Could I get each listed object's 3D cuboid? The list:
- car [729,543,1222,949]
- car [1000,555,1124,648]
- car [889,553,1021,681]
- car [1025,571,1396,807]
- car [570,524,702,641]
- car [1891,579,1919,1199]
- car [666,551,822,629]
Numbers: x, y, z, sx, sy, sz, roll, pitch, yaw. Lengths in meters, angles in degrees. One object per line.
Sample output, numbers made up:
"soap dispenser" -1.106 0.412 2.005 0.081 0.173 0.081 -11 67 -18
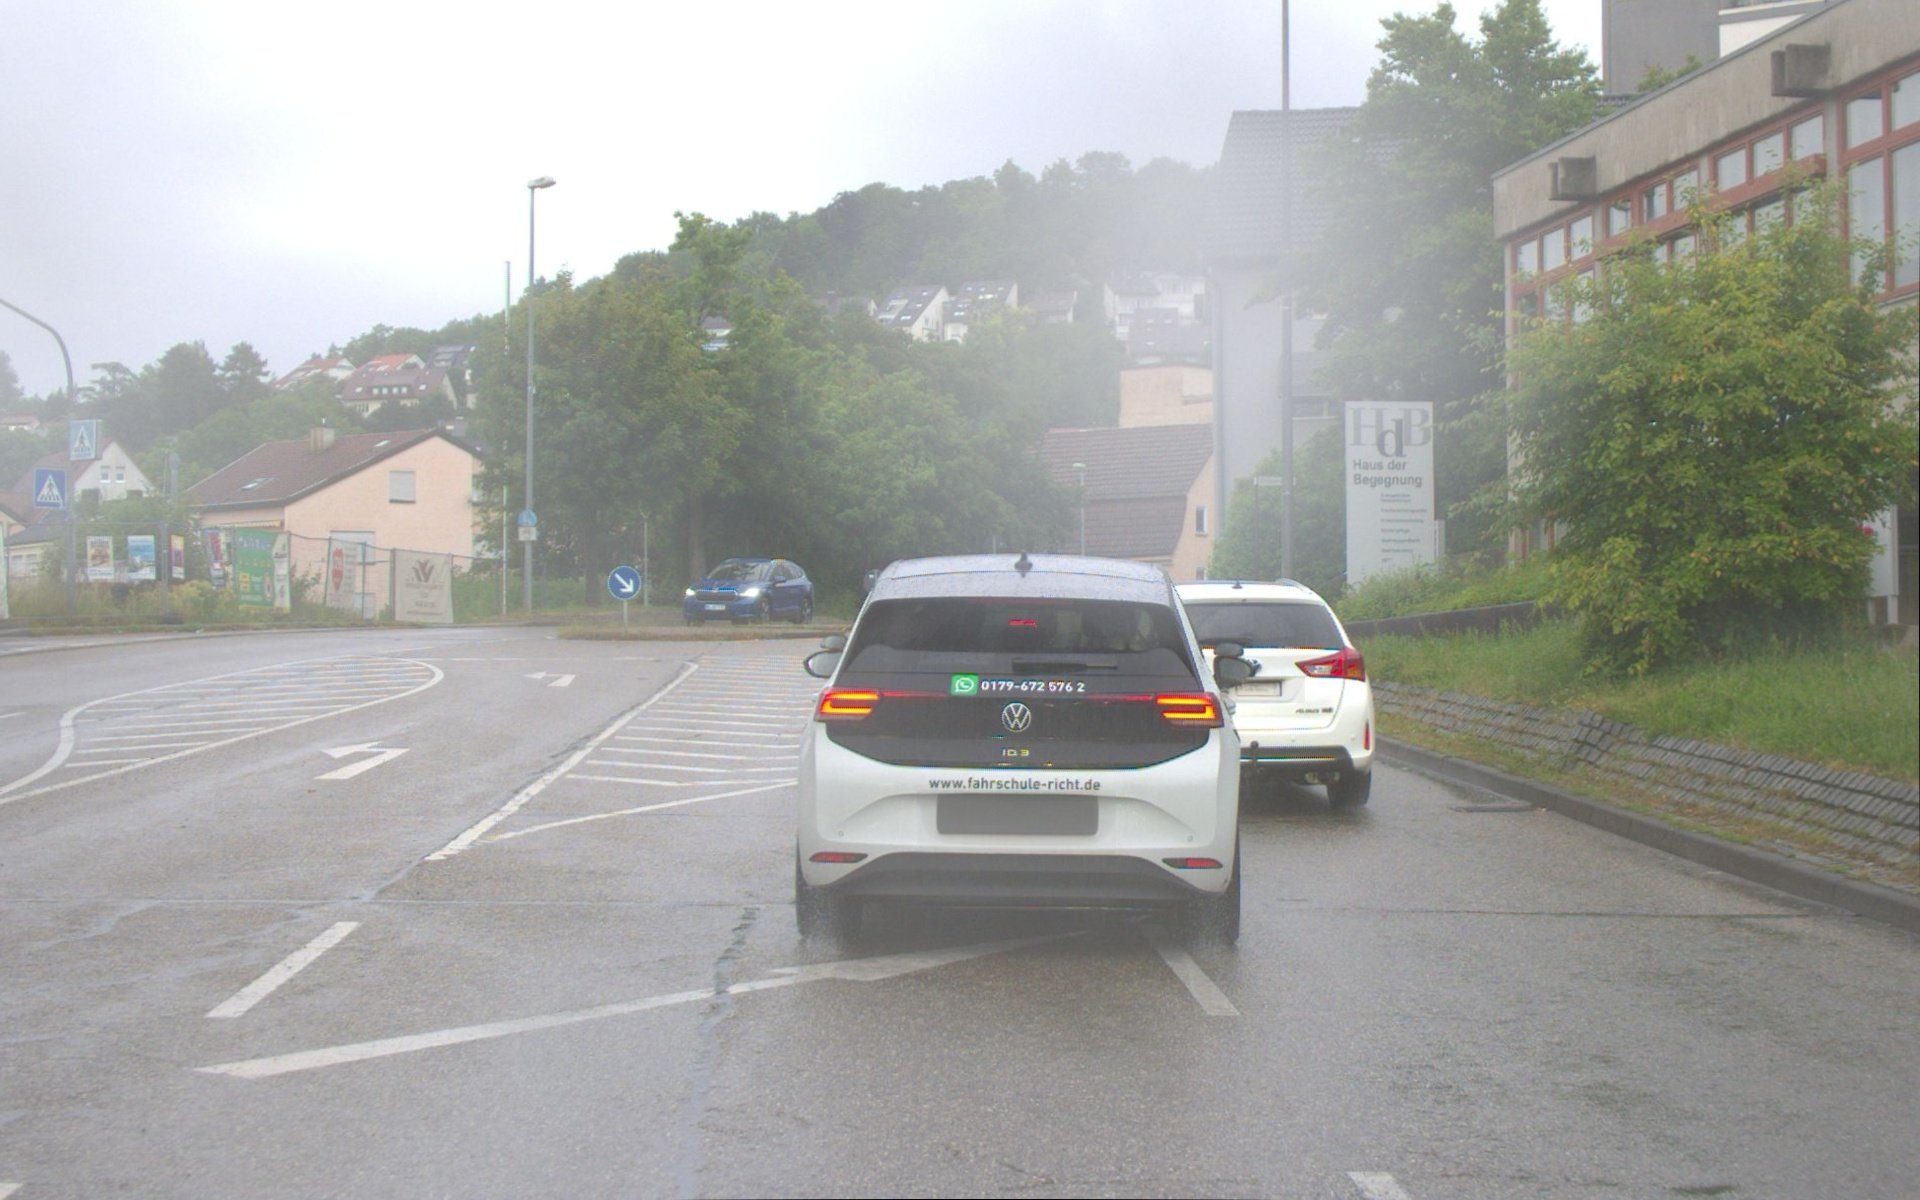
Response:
"car" 0.125 0.556 14.942 1.829 1.495 4.168 1 0 2
"car" 1.749 0.037 58.626 1.993 1.448 3.770 -2 0 2
"car" -0.079 0.179 42.979 1.567 1.525 4.000 0 1 -1
"car" 1.558 0.551 22.890 1.848 1.405 4.302 1 0 -4
"car" -5.860 -0.293 62.571 1.993 2.007 4.000 1 -1 0
"car" 2.861 0.749 4.240 1.954 1.502 4.609 3 0 -3
"car" -4.955 -0.215 79.483 1.995 1.687 4.701 1 -1 18
